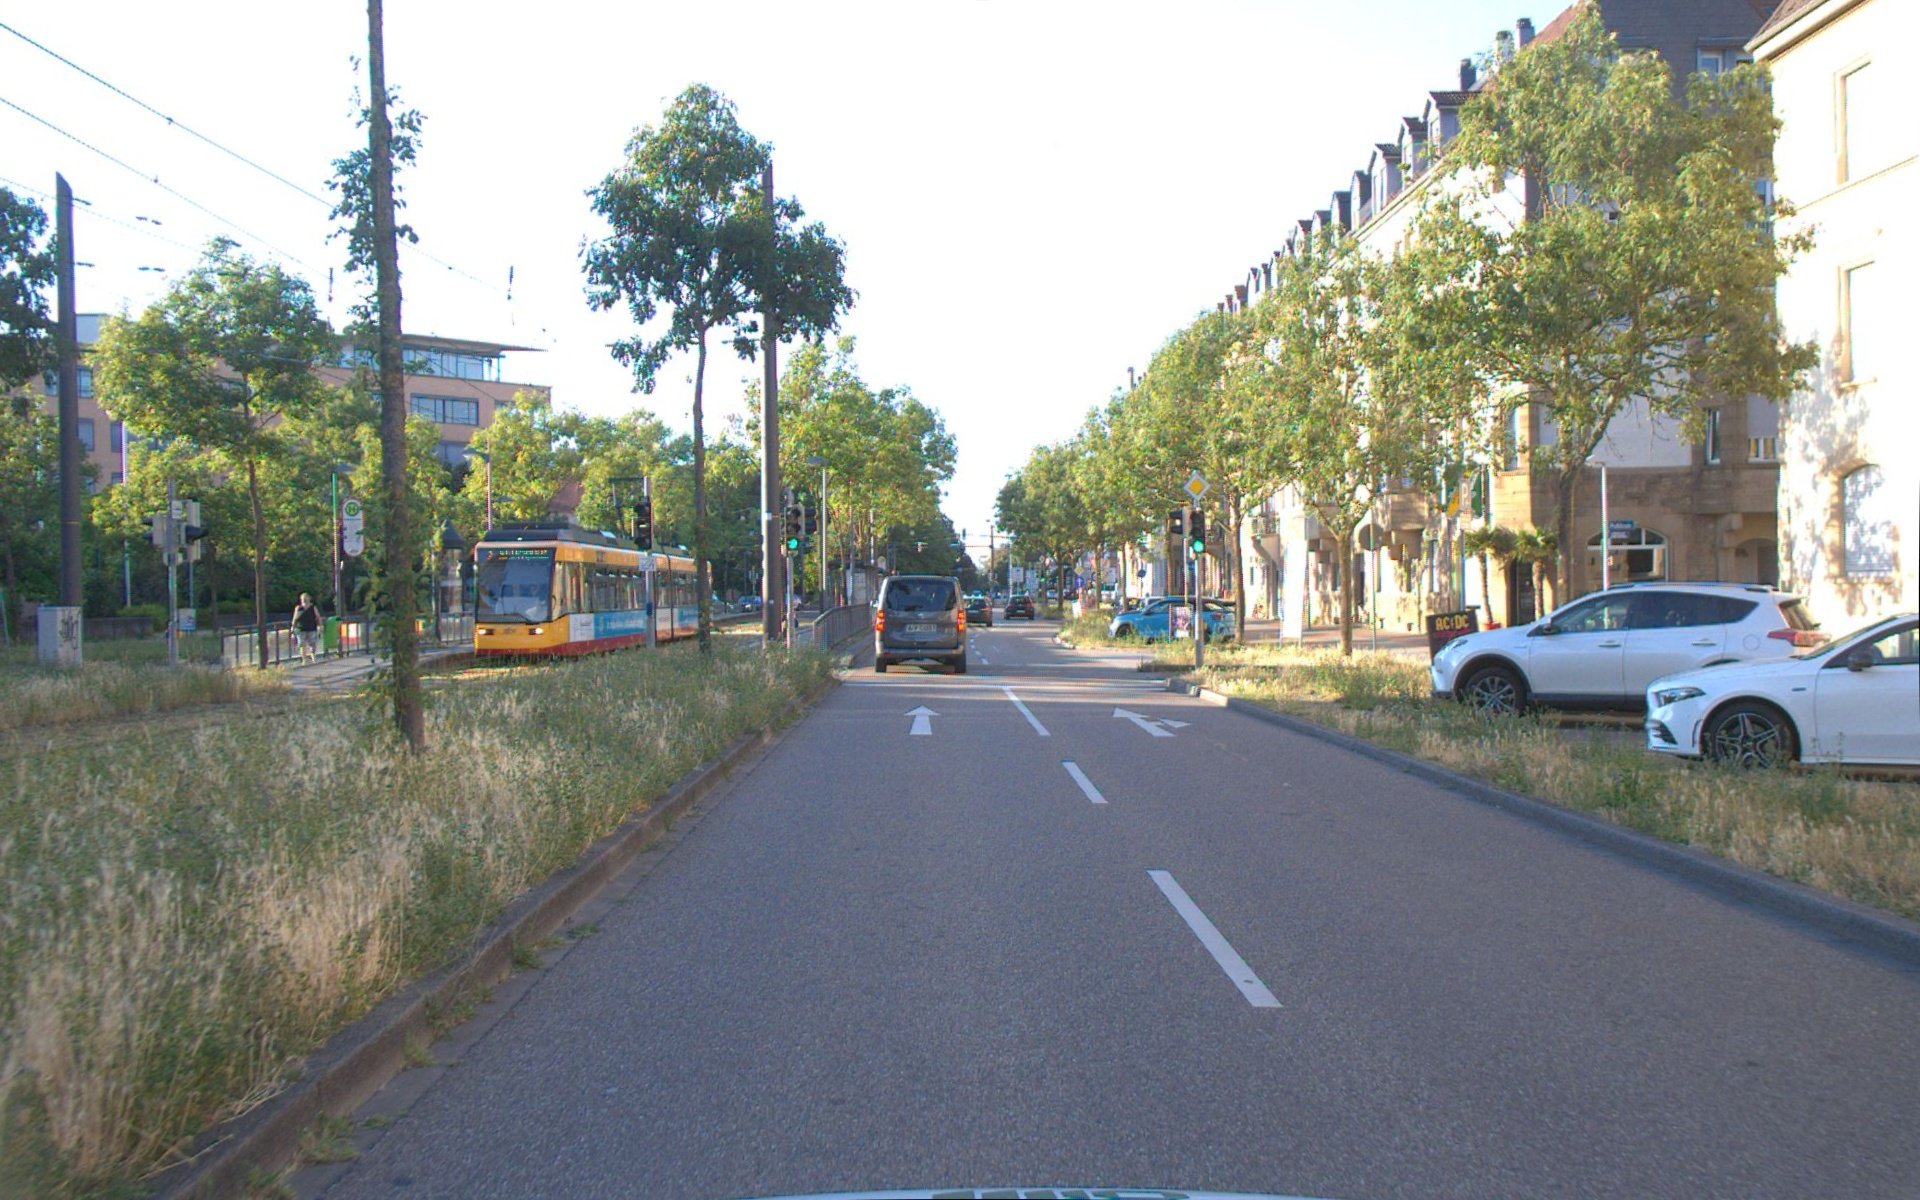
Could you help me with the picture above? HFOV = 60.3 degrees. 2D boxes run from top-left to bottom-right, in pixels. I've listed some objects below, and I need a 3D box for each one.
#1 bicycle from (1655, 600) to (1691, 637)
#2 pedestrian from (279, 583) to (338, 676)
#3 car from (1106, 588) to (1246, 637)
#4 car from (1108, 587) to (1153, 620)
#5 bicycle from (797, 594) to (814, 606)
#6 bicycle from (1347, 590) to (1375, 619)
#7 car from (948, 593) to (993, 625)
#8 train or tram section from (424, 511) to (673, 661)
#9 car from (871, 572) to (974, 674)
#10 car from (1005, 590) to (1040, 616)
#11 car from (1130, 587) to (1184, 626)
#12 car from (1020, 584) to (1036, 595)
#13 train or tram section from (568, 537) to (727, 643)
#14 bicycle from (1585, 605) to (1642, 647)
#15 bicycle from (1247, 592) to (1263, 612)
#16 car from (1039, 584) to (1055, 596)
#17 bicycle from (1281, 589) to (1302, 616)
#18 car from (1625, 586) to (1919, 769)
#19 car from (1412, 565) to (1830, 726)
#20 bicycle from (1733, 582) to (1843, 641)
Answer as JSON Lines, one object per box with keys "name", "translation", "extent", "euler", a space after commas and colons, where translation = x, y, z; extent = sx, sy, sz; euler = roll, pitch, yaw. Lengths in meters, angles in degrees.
{"name": "bicycle", "translation": [20.088, 0.509, 46.645], "extent": [0.615, 0.964, 1.886], "euler": [0, 1, 14]}
{"name": "pedestrian", "translation": [-14.611, 0.644, 37.110], "extent": [0.915, 2.049, 0.957], "euler": [-1, 0, -1]}
{"name": "car", "translation": [7.085, 0.401, 54.335], "extent": [4.196, 1.548, 1.843], "euler": [0, 0, 32]}
{"name": "car", "translation": [8.178, 0.153, 79.447], "extent": [1.669, 1.474, 4.288], "euler": [2, 0, 0]}
{"name": "bicycle", "translation": [-15.528, -0.017, 165.849], "extent": [1.708, 1.162, 0.550], "euler": [-2, 1, -43]}
{"name": "bicycle", "translation": [15.615, 0.175, 64.394], "extent": [0.560, 1.092, 1.896], "euler": [-2, 0, -1]}
{"name": "car", "translation": [0.497, 0.423, 80.621], "extent": [1.954, 1.537, 3.997], "euler": [0, 0, -3]}
{"name": "train or tram section", "translation": [-10.957, -0.359, 46.332], "extent": [3.361, 3.490, 15.025], "euler": [-1, 0, -1]}
{"name": "car", "translation": [-0.728, 0.429, 33.989], "extent": [1.953, 1.934, 4.299], "euler": [1, 0, 0]}
{"name": "car", "translation": [3.773, 0.140, 100.458], "extent": [1.953, 1.537, 3.999], "euler": [0, 0, -1]}
{"name": "car", "translation": [8.301, 0.241, 69.985], "extent": [1.691, 1.538, 4.271], "euler": [2, 0, -1]}
{"name": "car", "translation": [10.627, -1.601, 259.007], "extent": [1.954, 1.685, 4.296], "euler": [-1, 0, -3]}
{"name": "train or tram section", "translation": [-11.148, -0.341, 60.767], "extent": [3.361, 3.398, 13.855], "euler": [-1, 0, -1]}
{"name": "bicycle", "translation": [15.014, 0.595, 38.064], "extent": [0.451, 0.887, 1.884], "euler": [-6, -1, -1]}
{"name": "bicycle", "translation": [15.203, 0.092, 85.203], "extent": [0.473, 1.023, 1.746], "euler": [-1, 0, 0]}
{"name": "car", "translation": [13.373, -1.550, 253.934], "extent": [1.954, 1.685, 4.296], "euler": [-1, 0, -3]}
{"name": "bicycle", "translation": [15.361, 0.127, 76.682], "extent": [0.473, 1.185, 1.746], "euler": [-6, 0, 0]}
{"name": "car", "translation": [8.037, 0.598, 13.712], "extent": [4.455, 1.424, 2.027], "euler": [-1, 0, 30]}
{"name": "car", "translation": [7.830, 0.479, 19.730], "extent": [4.342, 1.721, 1.910], "euler": [0, 1, 35]}
{"name": "bicycle", "translation": [19.729, 0.264, 39.424], "extent": [2.303, 1.343, 0.730], "euler": [-1, 0, -5]}
